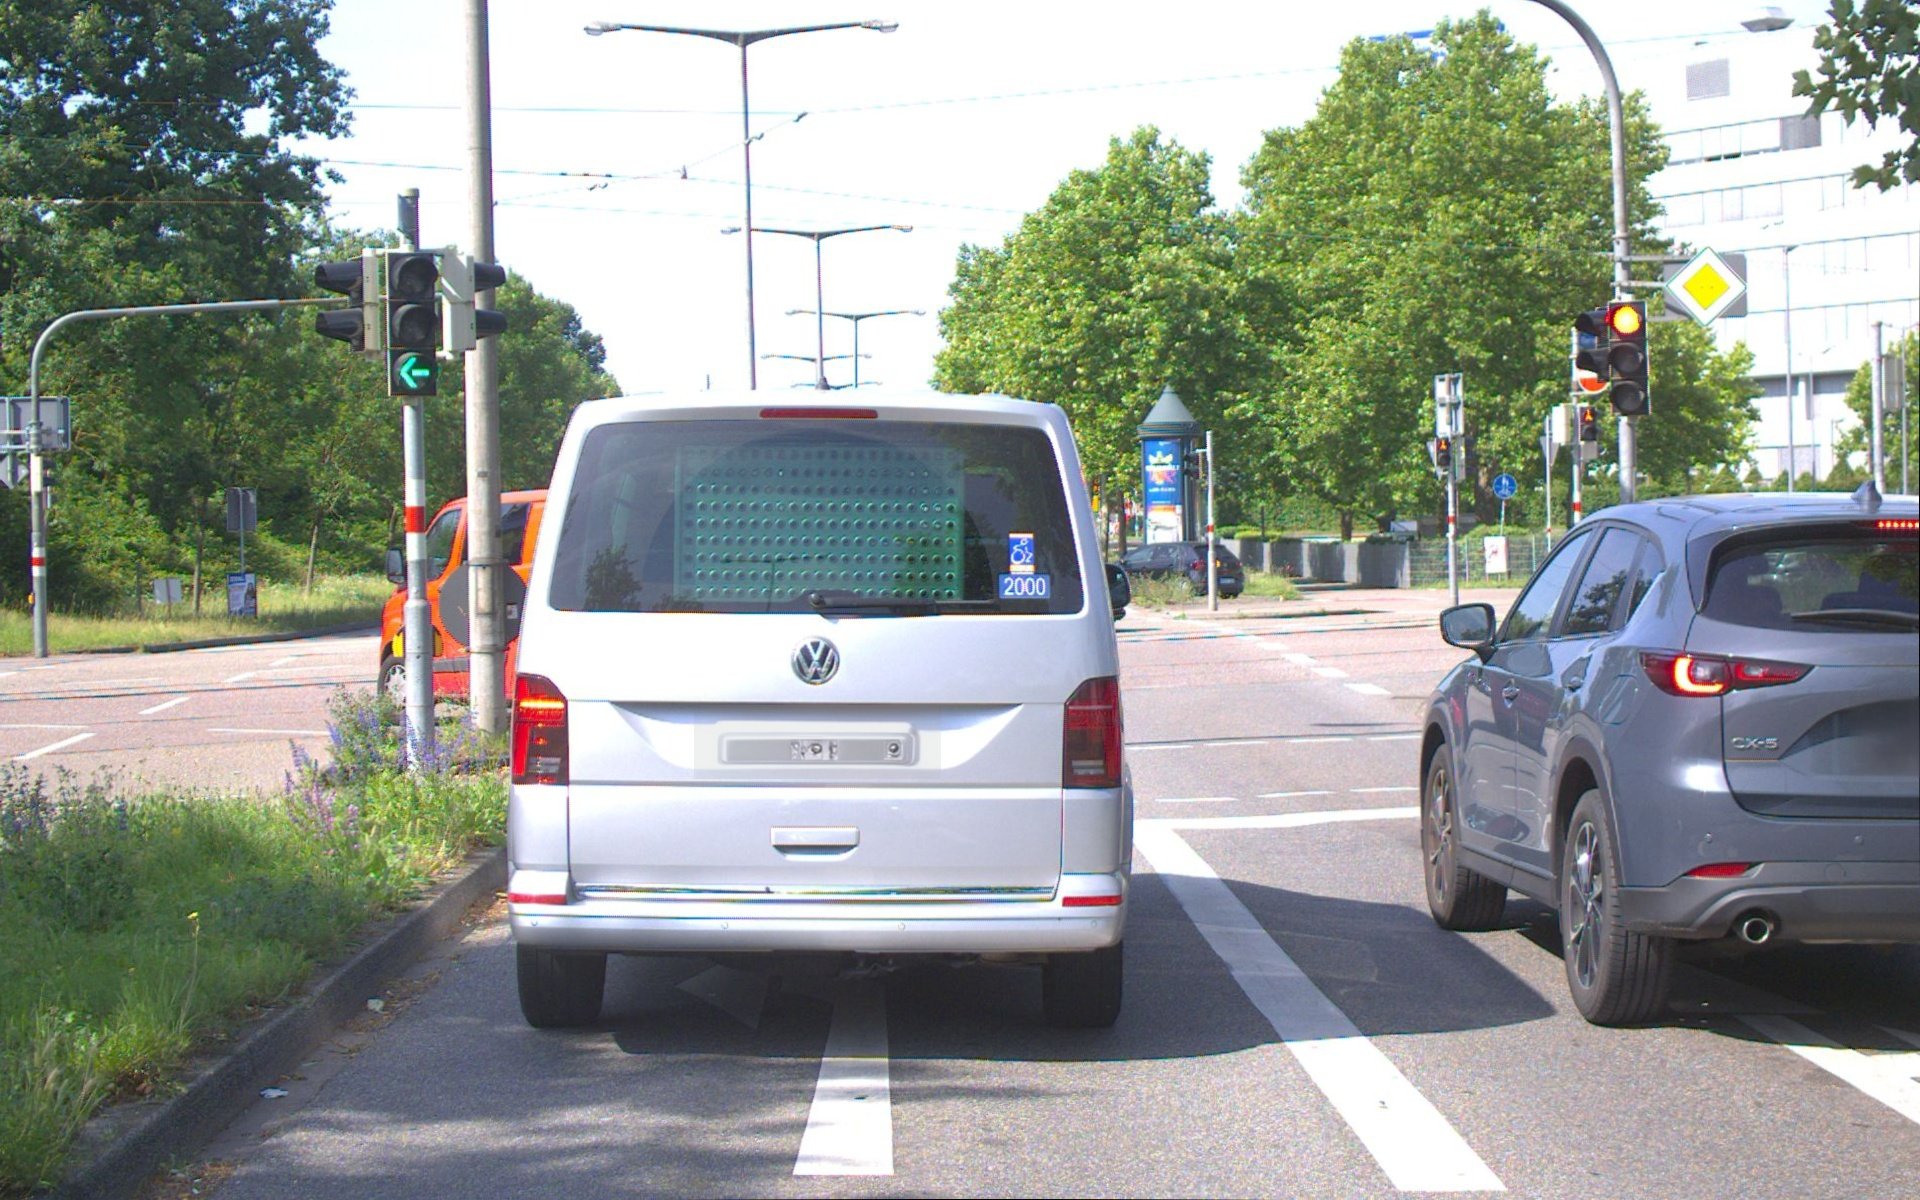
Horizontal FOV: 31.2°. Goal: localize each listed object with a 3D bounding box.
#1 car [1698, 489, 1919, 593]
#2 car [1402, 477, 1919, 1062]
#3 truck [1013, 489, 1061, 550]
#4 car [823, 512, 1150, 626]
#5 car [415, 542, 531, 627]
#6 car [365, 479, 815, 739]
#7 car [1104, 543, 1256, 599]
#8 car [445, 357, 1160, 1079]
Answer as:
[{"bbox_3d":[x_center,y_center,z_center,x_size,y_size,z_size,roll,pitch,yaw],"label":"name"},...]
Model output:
[{"bbox_3d":[15.075,-1.043,59.486,4.613,1.683,1.915,-2,1,-37],"label":"car"},{"bbox_3d":[2.775,0.446,11.994,1.766,1.653,4.497,0,1,-1],"label":"car"},{"bbox_3d":[5.834,-6.015,257.925,3.191,4.340,13.146,-1,1,3],"label":"truck"},{"bbox_3d":[0.346,-0.427,48.473,4.390,1.505,1.847,-1,1,39],"label":"car"},{"bbox_3d":[-9.548,-0.332,67.631,1.849,1.556,4.001,-2,1,-3],"label":"car"},{"bbox_3d":[-3.124,0.042,28.137,1.968,1.918,4.561,-2,1,-29],"label":"car"},{"bbox_3d":[5.114,-0.676,80.252,1.644,1.232,3.251,-3,2,-44],"label":"car"},{"bbox_3d":[-0.463,0.283,11.978,1.941,1.965,5.022,-1,1,-1],"label":"car"}]
